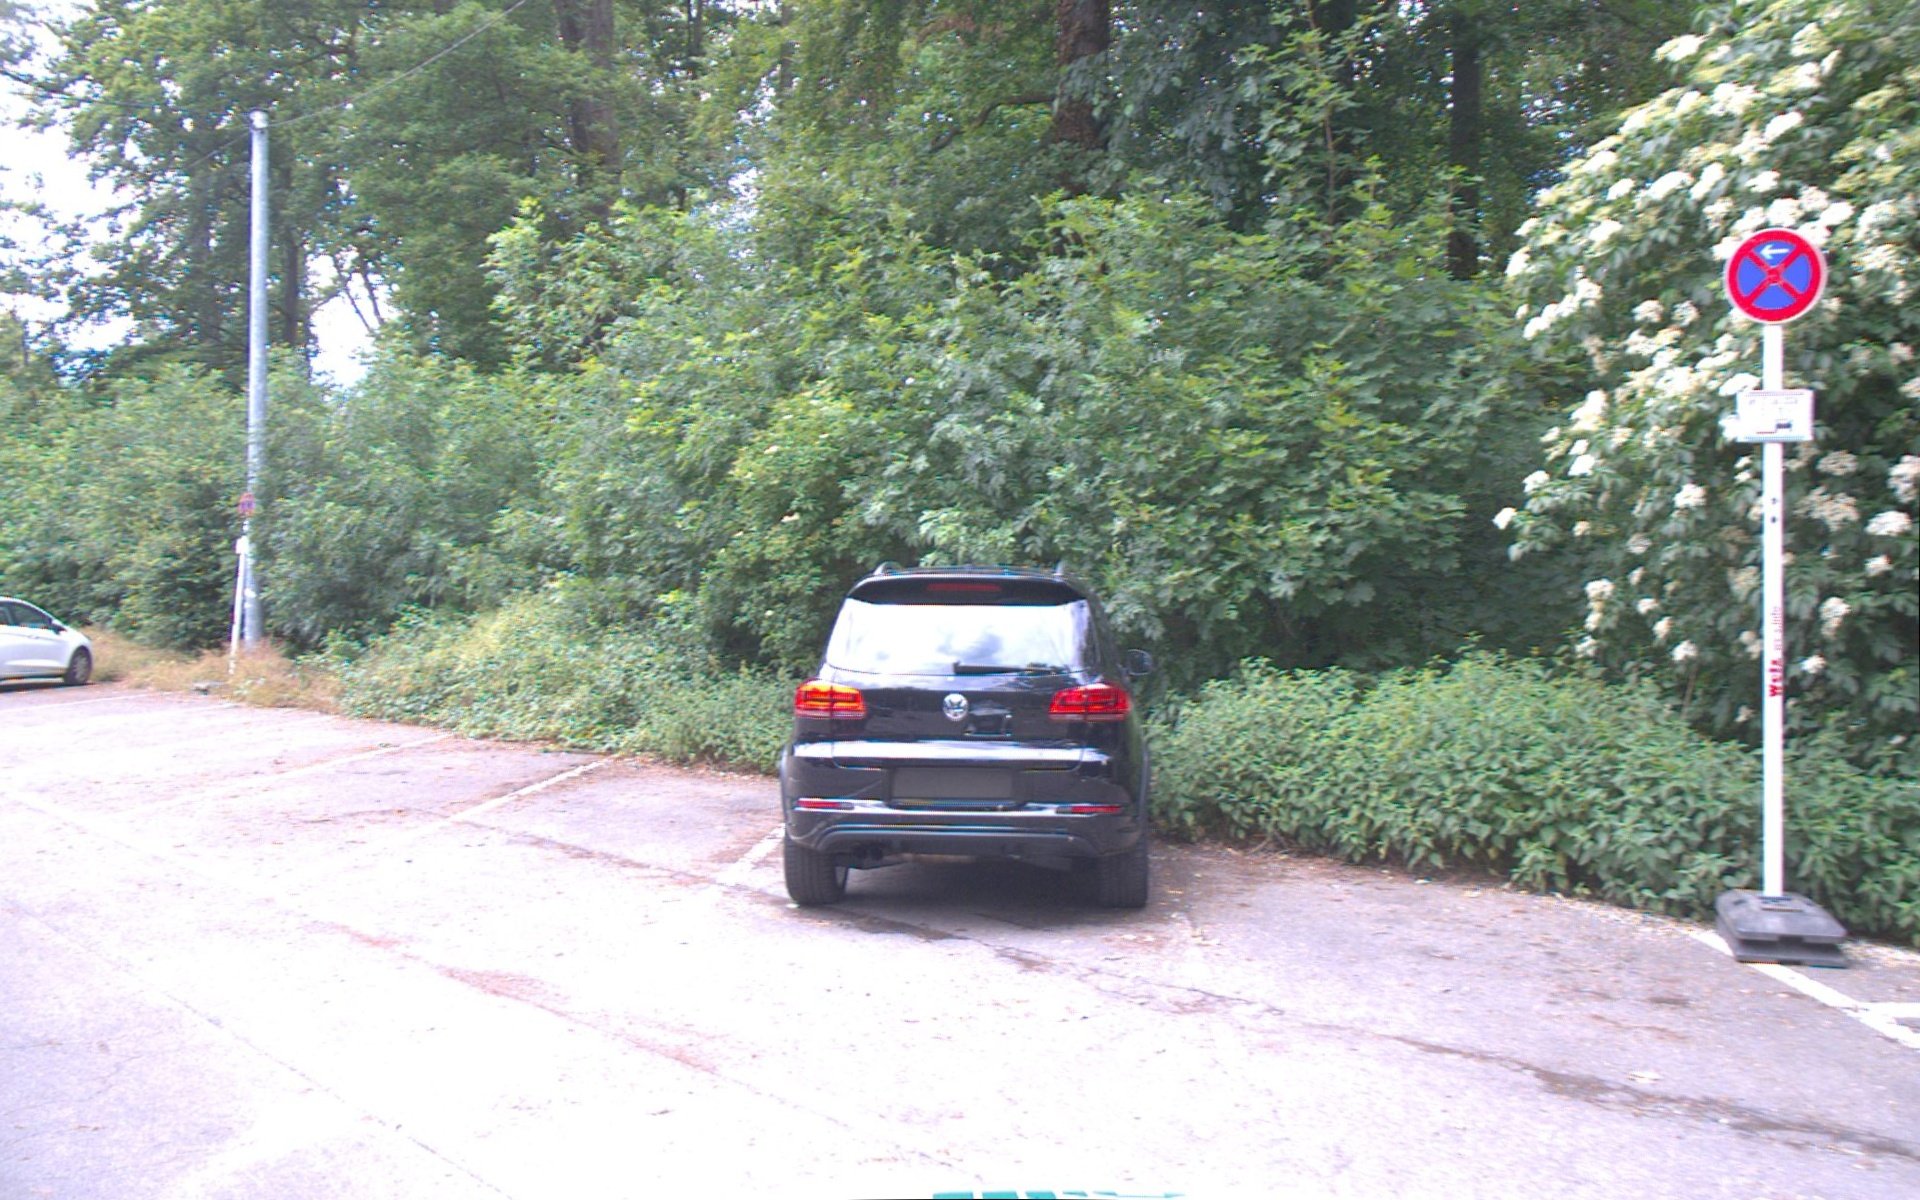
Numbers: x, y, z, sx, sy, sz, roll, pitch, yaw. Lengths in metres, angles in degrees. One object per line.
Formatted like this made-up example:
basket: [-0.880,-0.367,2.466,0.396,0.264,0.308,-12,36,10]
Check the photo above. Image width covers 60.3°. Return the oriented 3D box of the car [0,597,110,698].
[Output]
car: [-15.462,0.730,26.133,1.824,1.537,4.001,0,0,3]

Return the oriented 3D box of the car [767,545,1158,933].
car: [0.146,0.617,9.391,1.741,1.714,4.073,0,0,4]

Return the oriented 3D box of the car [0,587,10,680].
car: [-19.781,0.636,30.112,2.061,1.798,4.710,0,0,3]
